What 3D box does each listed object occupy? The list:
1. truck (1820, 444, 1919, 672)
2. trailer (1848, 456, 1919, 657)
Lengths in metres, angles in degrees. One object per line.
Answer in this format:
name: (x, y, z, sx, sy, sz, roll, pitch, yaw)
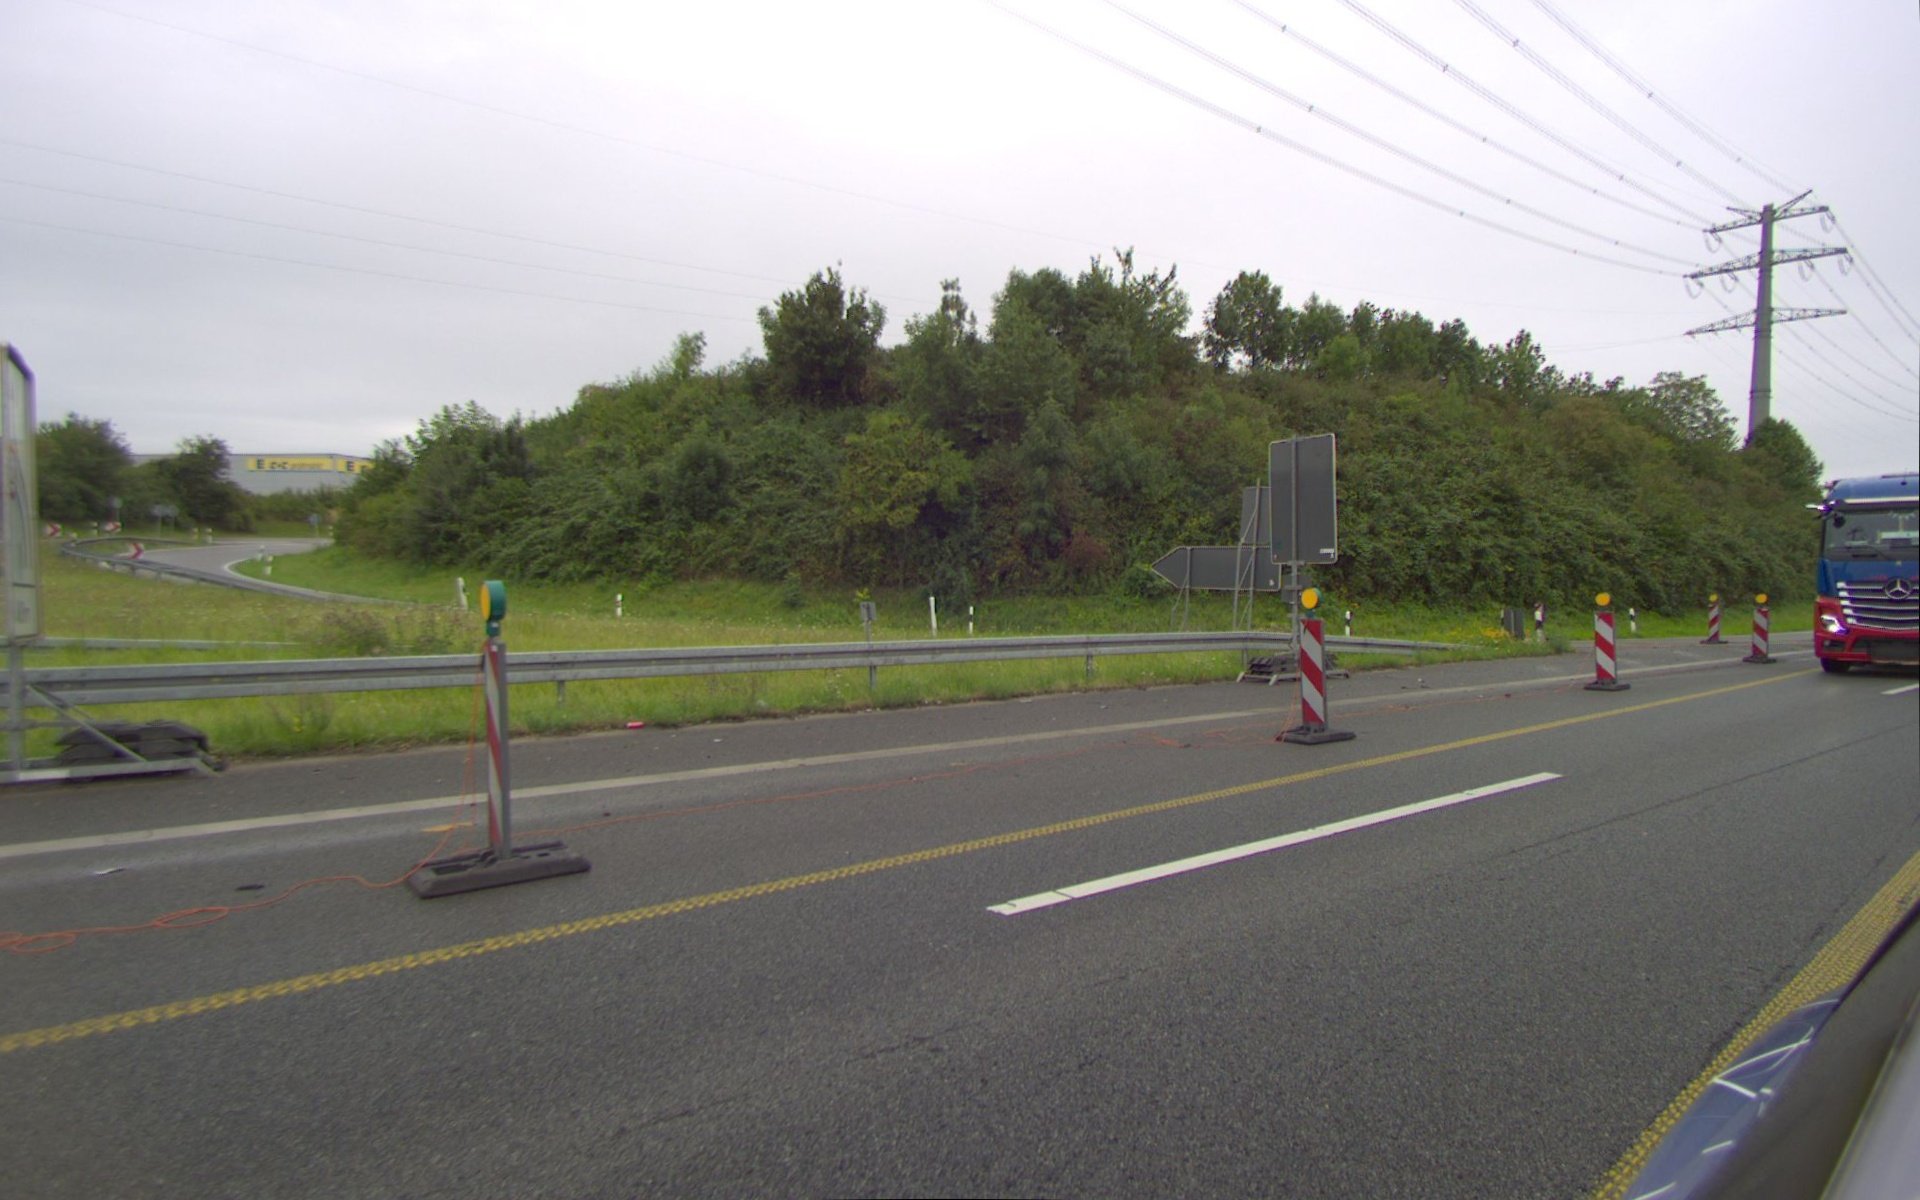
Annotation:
truck: (18.319, -0.775, 19.062, 3.929, 3.996, 2.553, -1, 1, -39)
trailer: (23.410, -0.949, 23.150, 12.128, 3.882, 2.525, -1, 1, -39)
